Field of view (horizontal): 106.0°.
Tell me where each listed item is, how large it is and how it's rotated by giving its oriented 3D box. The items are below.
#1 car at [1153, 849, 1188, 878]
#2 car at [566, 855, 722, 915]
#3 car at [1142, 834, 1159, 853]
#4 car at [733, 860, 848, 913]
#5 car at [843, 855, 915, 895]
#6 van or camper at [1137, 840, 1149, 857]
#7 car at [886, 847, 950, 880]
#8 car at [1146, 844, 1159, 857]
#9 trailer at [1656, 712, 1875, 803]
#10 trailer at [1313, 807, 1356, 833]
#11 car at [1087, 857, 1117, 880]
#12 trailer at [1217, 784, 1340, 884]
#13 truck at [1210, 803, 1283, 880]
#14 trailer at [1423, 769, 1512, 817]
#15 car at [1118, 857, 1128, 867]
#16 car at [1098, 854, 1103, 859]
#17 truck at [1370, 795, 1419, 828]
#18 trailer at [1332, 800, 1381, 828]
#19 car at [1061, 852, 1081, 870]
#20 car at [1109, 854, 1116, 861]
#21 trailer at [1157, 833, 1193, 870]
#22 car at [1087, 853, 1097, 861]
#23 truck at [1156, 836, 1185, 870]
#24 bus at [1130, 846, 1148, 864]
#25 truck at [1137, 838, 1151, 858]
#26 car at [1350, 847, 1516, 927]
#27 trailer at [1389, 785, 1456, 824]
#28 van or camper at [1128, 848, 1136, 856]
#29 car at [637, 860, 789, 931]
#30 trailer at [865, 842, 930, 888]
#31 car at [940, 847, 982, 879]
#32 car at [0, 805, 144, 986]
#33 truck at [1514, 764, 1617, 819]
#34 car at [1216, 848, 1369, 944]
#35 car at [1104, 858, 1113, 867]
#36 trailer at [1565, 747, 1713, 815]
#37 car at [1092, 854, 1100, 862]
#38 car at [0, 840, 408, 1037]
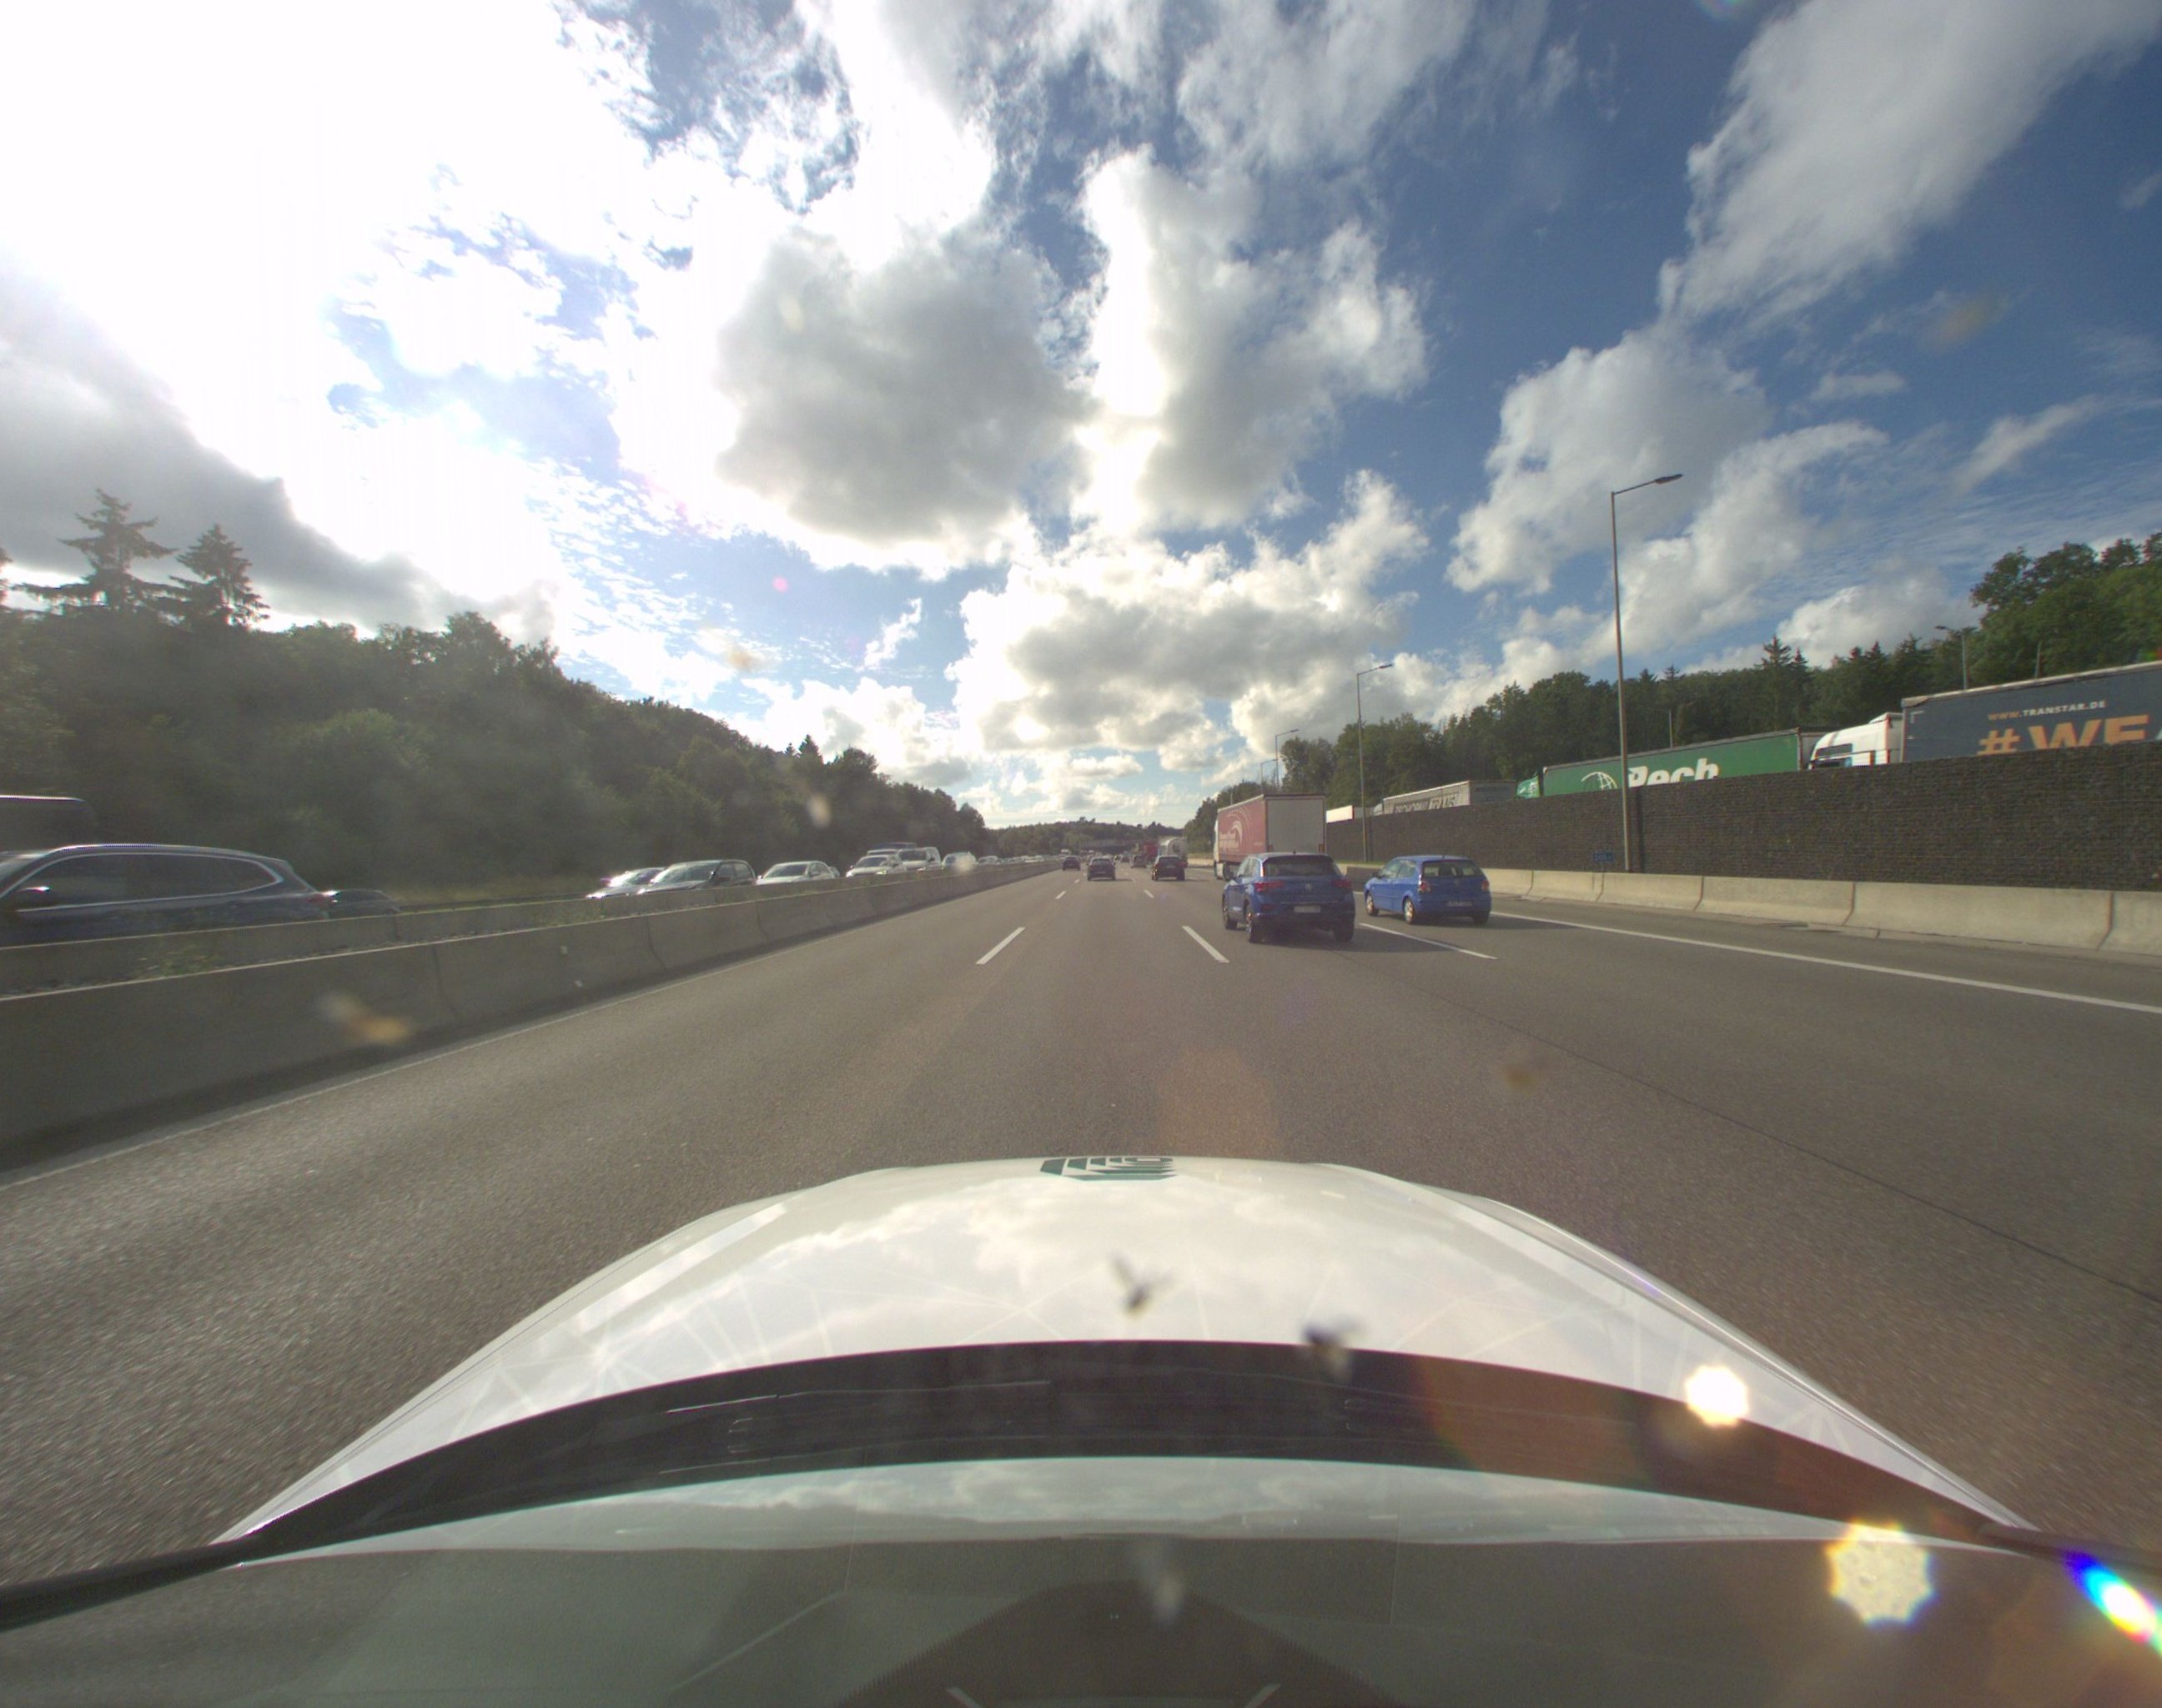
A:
[{"bbox_3d":[5.292,0.567,48.368,1.792,1.644,4.002,0,-1,2],"label":"car"},{"bbox_3d":[-12.478,0.827,23.637,1.985,1.572,4.360,0,0,3],"label":"car"},{"bbox_3d":[12.203,-1.805,142.953,2.855,2.992,5.152,-1,-2,3],"label":"car"},{"bbox_3d":[-9.304,0.983,26.536,1.985,1.572,4.360,0,0,3],"label":"car"},{"bbox_3d":[-8.525,0.845,34.778,1.758,1.572,4.360,0,0,3],"label":"car"},{"bbox_3d":[12.817,-1.147,168.618,2.342,3.144,5.714,-1,-2,3],"label":"van or camper"},{"bbox_3d":[-8.430,0.466,42.650,1.985,1.572,5.333,1,0,3],"label":"car"},{"bbox_3d":[11.665,-0.587,132.896,1.986,2.014,4.001,-1,-2,2],"label":"car"},{"bbox_3d":[21.903,-2.974,26.549,1.986,2.014,6.194,-1,-2,1],"label":"trailer"},{"bbox_3d":[23.361,-3.103,75.348,2.122,2.013,6.237,-2,0,2],"label":"trailer"},{"bbox_3d":[1.306,0.907,50.890,1.729,1.365,3.998,0,-1,-1],"label":"car"},{"bbox_3d":[9.114,-0.588,39.825,3.027,4.036,13.893,-1,-2,2],"label":"trailer"},{"bbox_3d":[9.324,-0.569,46.641,3.069,4.064,6.071,-1,-2,2],"label":"truck"},{"bbox_3d":[22.301,-3.439,47.380,2.043,2.014,6.965,-1,-2,2],"label":"trailer"},{"bbox_3d":[8.670,1.722,167.240,1.986,2.014,4.001,0,-1,2],"label":"car"},{"bbox_3d":[6.152,0.805,259.028,1.617,1.470,3.816,0,-1,2],"label":"car"},{"bbox_3d":[22.611,-3.060,58.885,2.037,2.014,4.097,-1,-2,1],"label":"truck"},{"bbox_3d":[23.185,-3.351,68.913,2.122,2.013,6.324,-2,0,2],"label":"trailer"},{"bbox_3d":[-1.074,0.731,88.638,1.986,1.776,4.002,-2,0,2],"label":"car"},{"bbox_3d":[8.288,0.940,215.986,1.669,1.592,3.630,-2,0,3],"label":"car"},{"bbox_3d":[11.100,-0.195,97.185,3.025,4.016,12.247,-1,-1,1],"label":"trailer"},{"bbox_3d":[2.625,0.639,191.257,2.146,1.776,4.002,0,-1,2],"label":"car"},{"bbox_3d":[11.327,-0.074,103.392,3.034,4.160,7.129,-1,-1,2],"label":"truck"},{"bbox_3d":[6.844,0.132,96.621,1.986,2.014,4.001,-1,-2,2],"label":"bus"},{"bbox_3d":[12.502,-1.128,162.437,2.348,3.573,11.273,-1,-2,3],"label":"truck"},{"bbox_3d":[7.585,0.641,18.054,1.710,1.511,4.299,-2,0,-1],"label":"car"},{"bbox_3d":[22.483,-3.225,53.870,2.037,2.014,6.007,-1,-2,2],"label":"trailer"},{"bbox_3d":[15.660,-0.572,250.668,2.076,2.493,4.226,-1,0,2],"label":"van or camper"},{"bbox_3d":[-8.877,0.937,19.976,1.985,1.572,3.513,0,0,3],"label":"car"},{"bbox_3d":[-11.993,0.726,53.930,2.271,2.786,8.542,-1,0,1],"label":"trailer"},{"bbox_3d":[-7.838,0.650,53.462,1.986,2.014,4.676,-1,-2,1],"label":"car"},{"bbox_3d":[-13.210,0.472,7.592,1.985,2.032,5.850,0,0,3],"label":"car"},{"bbox_3d":[22.209,-2.806,37.614,2.037,2.014,4.783,-1,-2,3],"label":"truck"},{"bbox_3d":[3.794,0.688,15.451,1.916,1.541,4.649,0,0,3],"label":"car"},{"bbox_3d":[6.584,2.106,193.370,1.986,2.014,4.001,-2,-2,1],"label":"car"},{"bbox_3d":[22.001,-2.800,32.478,1.986,2.014,5.775,-1,-2,1],"label":"trailer"},{"bbox_3d":[4.133,0.999,218.883,1.987,2.014,3.999,-1,0,-1],"label":"car"},{"bbox_3d":[-9.574,0.679,7.644,1.985,1.572,5.211,0,0,3],"label":"car"}]
